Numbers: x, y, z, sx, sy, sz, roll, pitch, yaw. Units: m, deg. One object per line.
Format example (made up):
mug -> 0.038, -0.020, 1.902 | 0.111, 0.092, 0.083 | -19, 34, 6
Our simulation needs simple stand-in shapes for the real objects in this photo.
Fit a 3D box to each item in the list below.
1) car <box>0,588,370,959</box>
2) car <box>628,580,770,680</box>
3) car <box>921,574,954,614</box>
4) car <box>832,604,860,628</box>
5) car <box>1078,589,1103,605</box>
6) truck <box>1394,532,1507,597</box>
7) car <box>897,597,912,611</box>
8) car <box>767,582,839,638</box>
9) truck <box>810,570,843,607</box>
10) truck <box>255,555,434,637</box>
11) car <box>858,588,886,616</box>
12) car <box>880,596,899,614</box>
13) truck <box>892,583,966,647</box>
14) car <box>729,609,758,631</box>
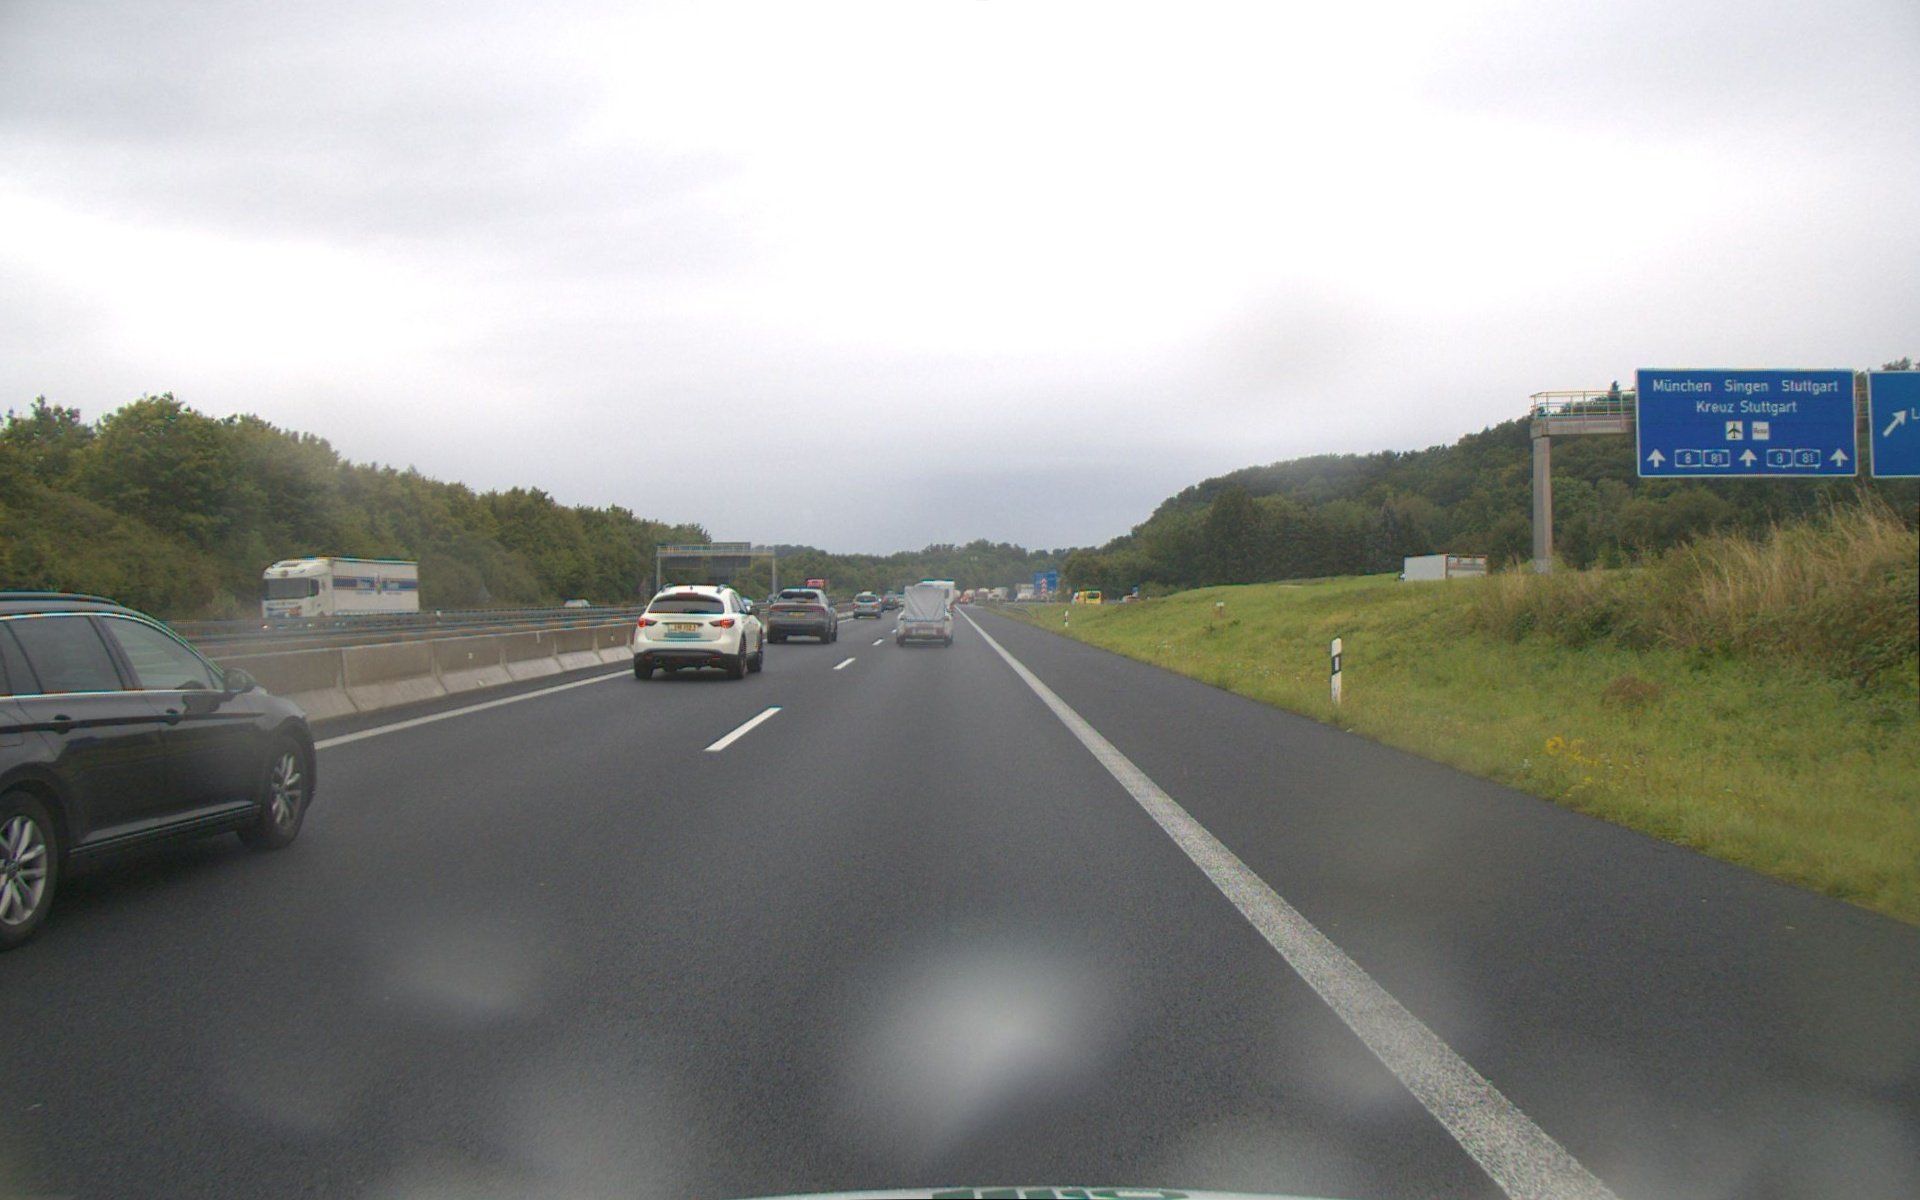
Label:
car -> -4.685, 0.685, 8.142 | 1.750, 1.484, 4.803 | 1, 0, 1
car -> -4.731, 0.505, 30.634 | 2.007, 1.700, 4.539 | 1, 0, -1
car -> -1.637, -0.392, 118.661 | 2.284, 2.773, 6.538 | 0, 0, -1
car -> -8.328, 1.174, 121.133 | 1.782, 1.691, 4.016 | 0, 0, 0
car -> 13.390, -0.306, 169.880 | 1.955, 1.579, 3.995 | 1, 0, -6
truck -> 29.942, -2.102, 101.350 | 3.751, 3.723, 8.261 | 1, 0, -6
car -> -6.655, 0.490, 198.616 | 1.612, 1.601, 4.000 | 1, 0, 0
car -> -5.051, 0.298, 53.818 | 1.935, 1.733, 4.801 | 1, 0, -1
truck -> -17.515, -1.490, 218.386 | 3.330, 4.816, 10.486 | 1, 0, 1
truck -> -32.381, -0.227, 88.251 | 3.113, 3.875, 17.133 | -1, 0, 0
car -> -5.892, 0.095, 110.845 | 1.703, 1.825, 3.999 | 1, 0, -1
car -> -6.711, 0.479, 157.877 | 1.612, 1.601, 4.000 | 1, 0, 0
truck -> -1.005, 0.439, 52.478 | 2.197, 1.871, 6.582 | 0, 0, -1
car -> -17.552, 1.584, 134.271 | 1.953, 1.691, 4.311 | 0, 0, -2
